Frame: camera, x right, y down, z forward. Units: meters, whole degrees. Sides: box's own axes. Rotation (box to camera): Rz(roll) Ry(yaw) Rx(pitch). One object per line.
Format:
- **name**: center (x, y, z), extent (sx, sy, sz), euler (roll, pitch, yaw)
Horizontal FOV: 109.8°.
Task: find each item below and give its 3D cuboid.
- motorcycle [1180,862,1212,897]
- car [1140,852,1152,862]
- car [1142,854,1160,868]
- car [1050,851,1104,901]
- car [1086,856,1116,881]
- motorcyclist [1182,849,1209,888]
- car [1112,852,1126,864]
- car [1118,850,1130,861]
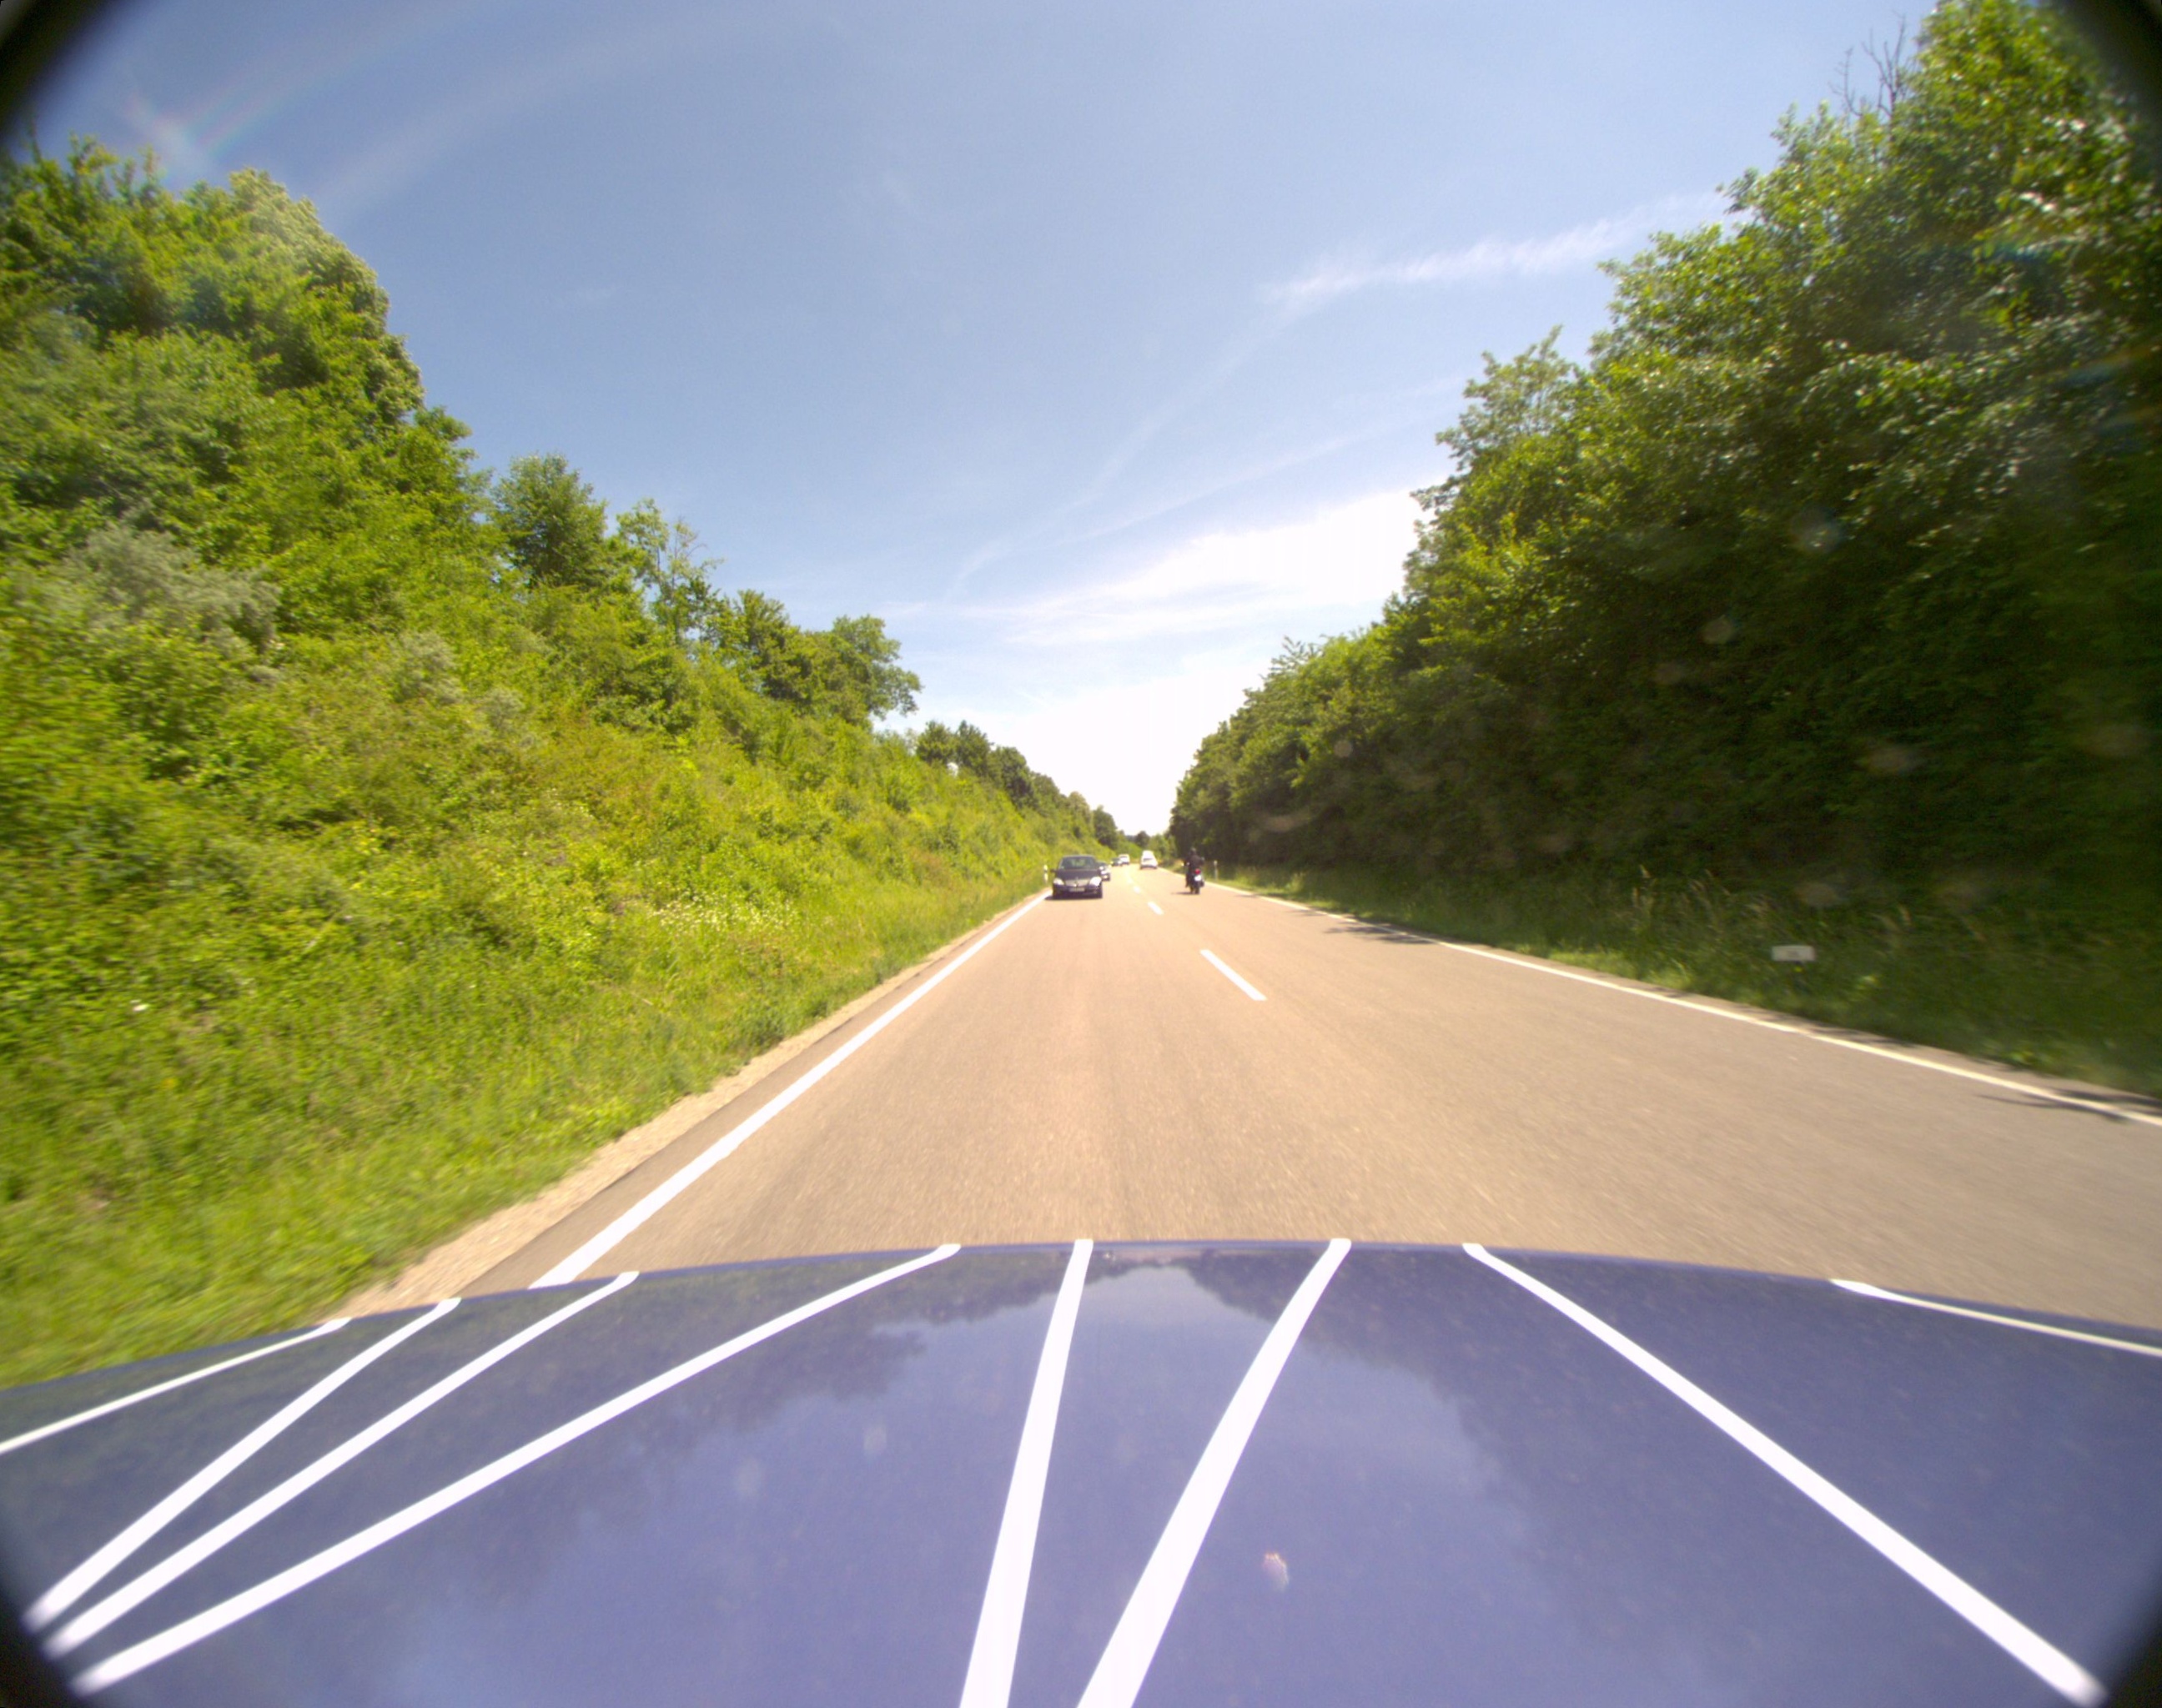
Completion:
- **motorcycle**: center (4.306, 0.923, 28.656), extent (0.866, 1.214, 2.442), euler (-1, 0, 2)
- **car**: center (10.042, 0.415, 117.453), extent (1.749, 1.470, 4.167), euler (-2, 0, 3)
- **car**: center (7.699, 0.720, 84.420), extent (1.681, 1.452, 4.759), euler (-2, 0, 2)
- **car**: center (-0.059, 0.765, 28.663), extent (1.783, 1.676, 4.779), euler (-2, 0, 2)
- **car**: center (1.294, 0.862, 47.511), extent (1.709, 1.444, 5.415), euler (-2, 0, 3)
- **motorcyclist**: center (4.302, 0.530, 28.668), extent (0.851, 1.429, 1.073), euler (-1, 1, 2)
- **car**: center (5.788, 0.549, 114.739), extent (2.045, 1.743, 4.167), euler (-2, 0, 3)
- **car**: center (7.887, 0.229, 138.435), extent (1.998, 2.002, 4.001), euler (-2, 0, 6)
